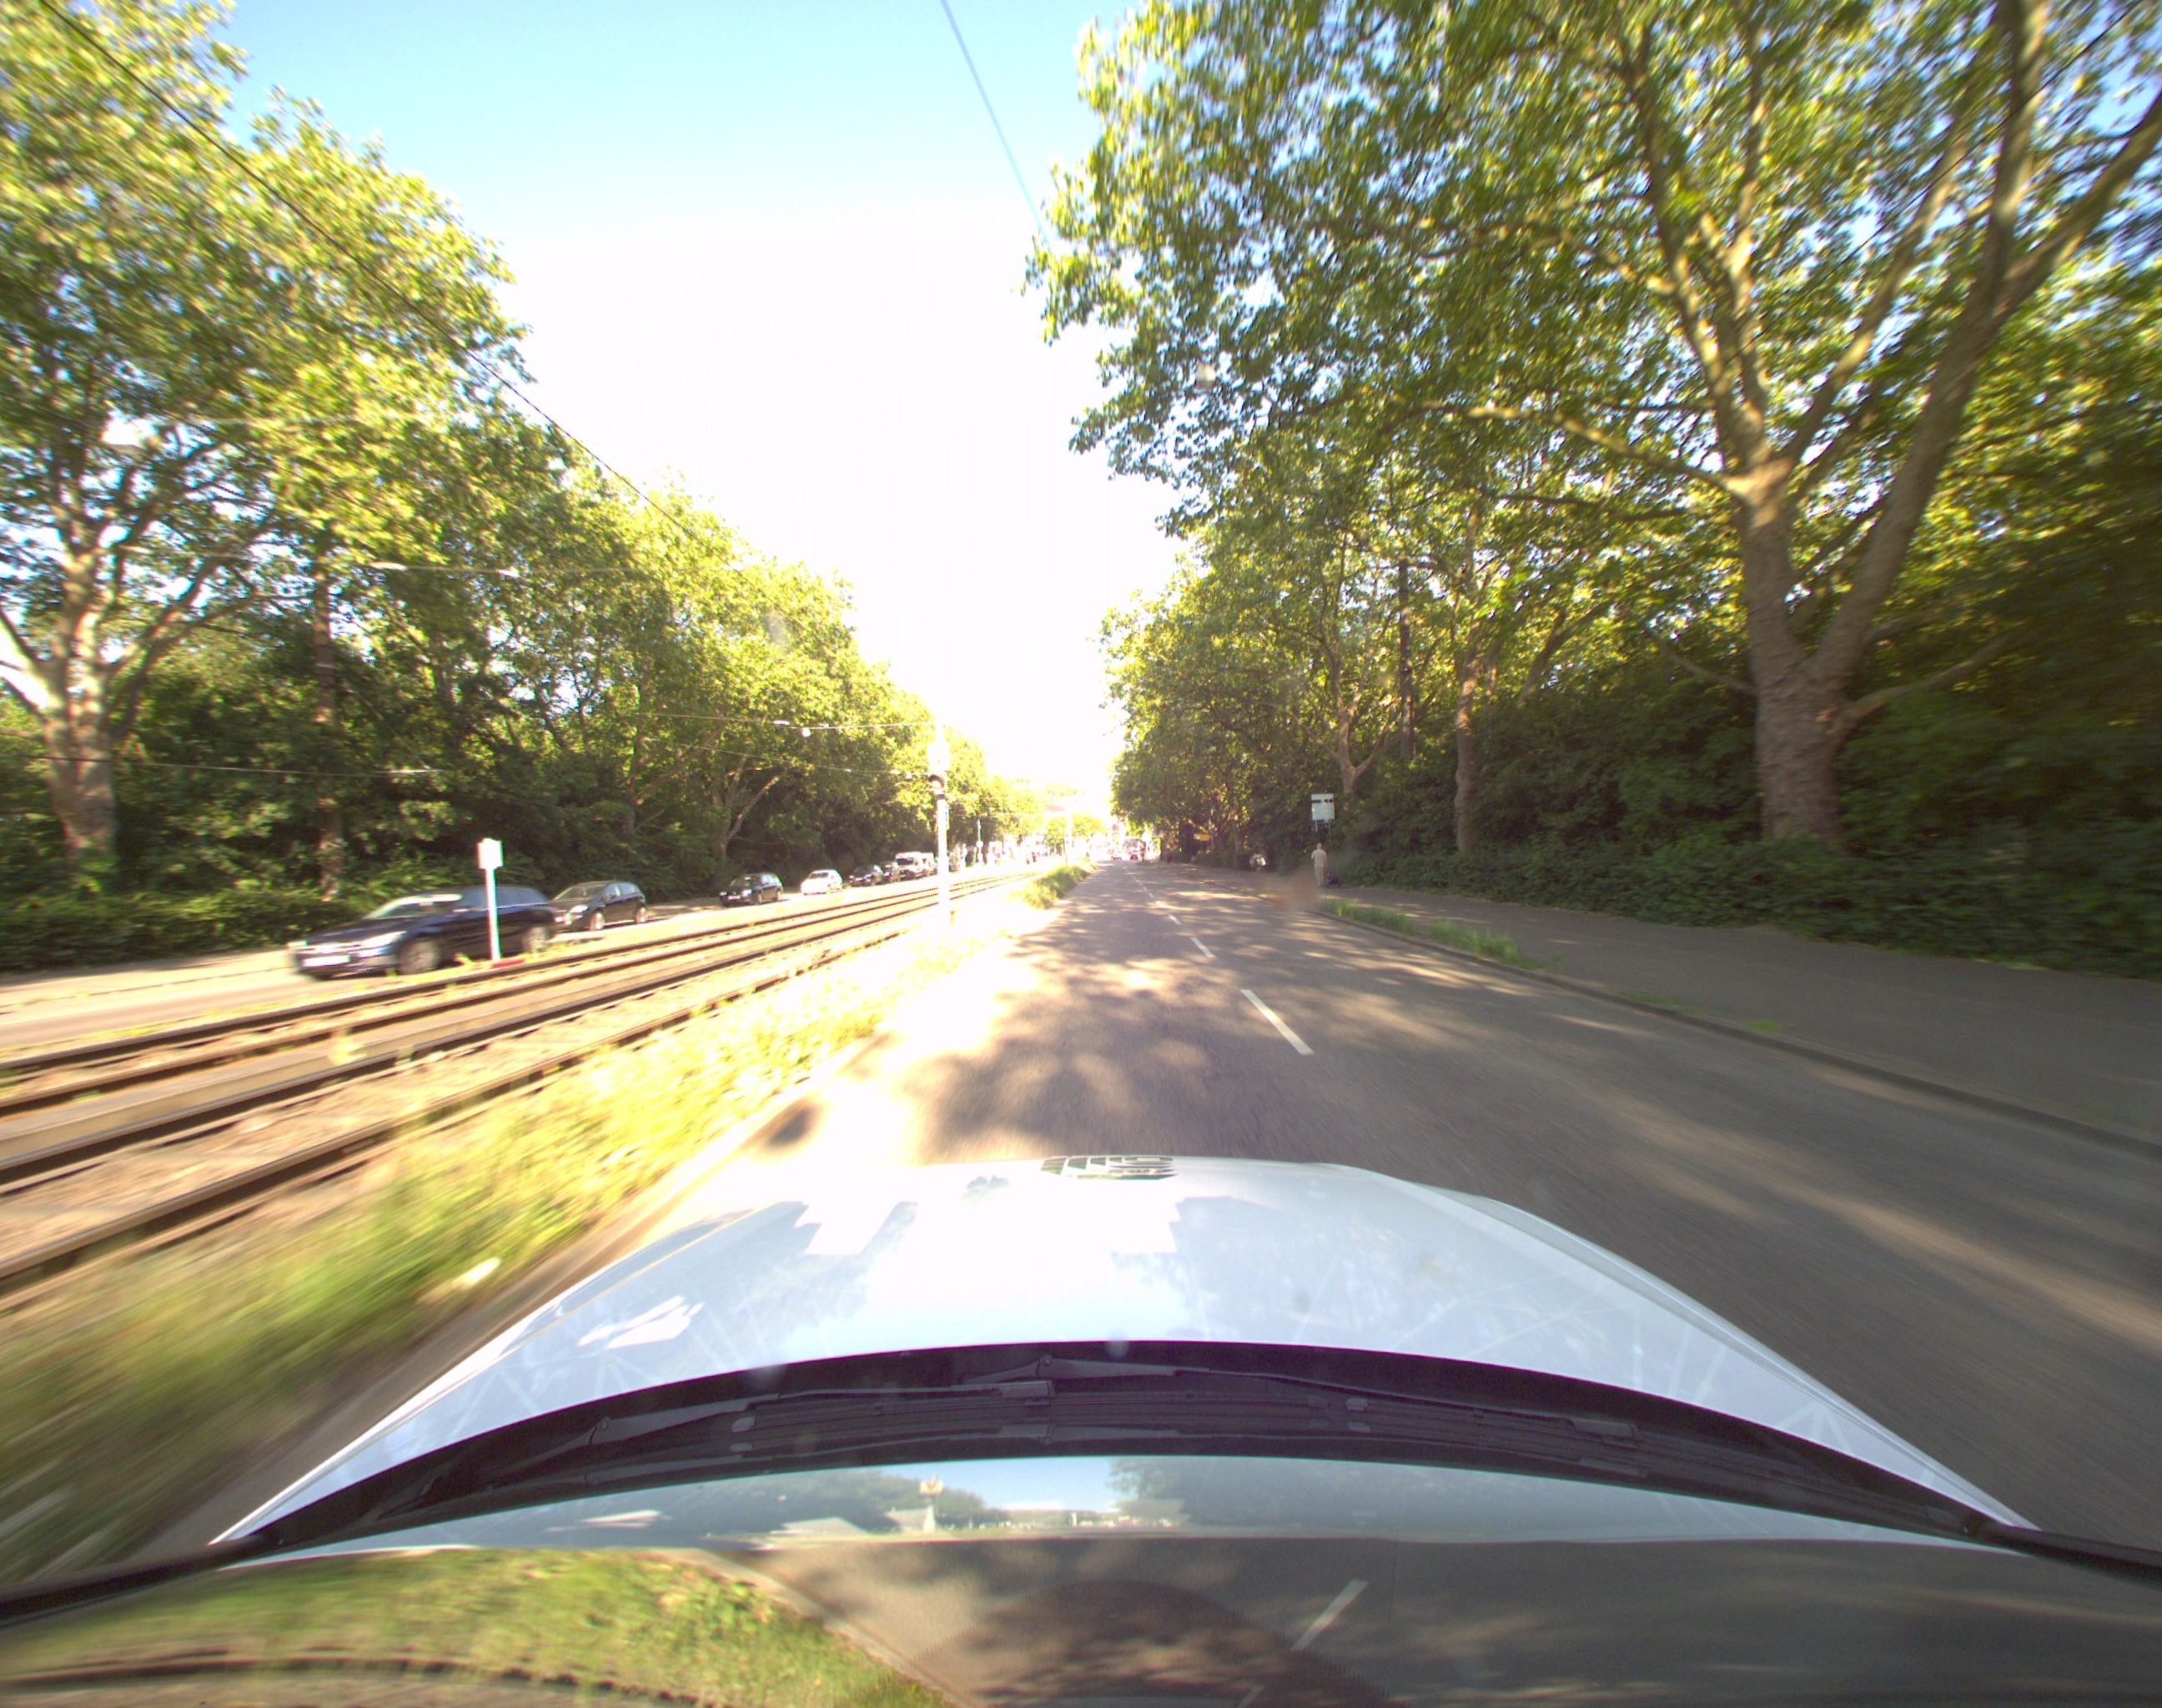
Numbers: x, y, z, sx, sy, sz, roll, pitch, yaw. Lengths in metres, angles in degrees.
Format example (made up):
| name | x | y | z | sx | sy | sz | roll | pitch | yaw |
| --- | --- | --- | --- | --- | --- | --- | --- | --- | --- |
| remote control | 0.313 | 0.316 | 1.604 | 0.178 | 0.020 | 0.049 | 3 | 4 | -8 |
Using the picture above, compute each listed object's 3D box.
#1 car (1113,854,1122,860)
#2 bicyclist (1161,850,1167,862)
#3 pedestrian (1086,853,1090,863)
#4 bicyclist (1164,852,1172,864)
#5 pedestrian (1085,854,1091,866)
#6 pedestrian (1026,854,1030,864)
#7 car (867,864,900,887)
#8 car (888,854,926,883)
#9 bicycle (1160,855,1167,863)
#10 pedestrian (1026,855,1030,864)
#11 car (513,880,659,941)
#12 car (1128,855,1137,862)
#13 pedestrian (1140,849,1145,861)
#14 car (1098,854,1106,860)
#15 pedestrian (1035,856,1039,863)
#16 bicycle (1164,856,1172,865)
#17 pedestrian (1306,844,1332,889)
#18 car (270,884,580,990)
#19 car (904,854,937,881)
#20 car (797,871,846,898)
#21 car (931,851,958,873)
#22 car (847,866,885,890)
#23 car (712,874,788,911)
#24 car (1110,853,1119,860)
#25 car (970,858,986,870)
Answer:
| name | x | y | z | sx | sy | sz | roll | pitch | yaw |
| --- | --- | --- | --- | --- | --- | --- | --- | --- | --- |
| car | 8.255 | 0.672 | 184.723 | 1.922 | 1.472 | 4.855 | -1 | 0 | 1 |
| bicyclist | 12.153 | 0.347 | 119.836 | 0.697 | 1.728 | 1.079 | -2 | 0 | -1 |
| pedestrian | 1.155 | 0.614 | 134.139 | 0.739 | 1.694 | 0.791 | 0 | 0 | 1 |
| bicyclist | 10.599 | 0.485 | 99.221 | 0.763 | 1.513 | 0.650 | -2 | 0 | 0 |
| pedestrian | 0.908 | 0.827 | 110.627 | 0.515 | 1.568 | 0.511 | -4 | -1 | 30 |
| pedestrian | -9.213 | 0.887 | 141.346 | 0.645 | 1.772 | 0.651 | -1 | -1 | 3 |
| car | -16.234 | 1.736 | 67.196 | 1.734 | 1.728 | 3.880 | -3 | -1 | -1 |
| car | -16.051 | 1.331 | 75.599 | 2.177 | 2.520 | 6.047 | -3 | -1 | -1 |
| bicycle | 12.162 | 0.734 | 119.831 | 0.697 | 1.107 | 1.929 | -2 | 0 | 0 |
| pedestrian | -9.200 | 0.993 | 140.673 | 0.590 | 1.544 | 0.627 | -1 | -1 | 1 |
| car | -15.197 | 1.681 | 25.325 | 1.822 | 1.505 | 4.392 | -3 | -1 | -1 |
| car | 11.282 | 1.039 | 179.791 | 1.794 | 1.439 | 4.045 | 0 | 0 | 1 |
| pedestrian | 9.880 | 0.133 | 131.528 | 0.654 | 1.871 | 0.678 | -2 | 0 | 0 |
| car | 5.043 | 0.732 | 193.941 | 1.802 | 1.452 | 4.000 | -1 | 0 | 0 |
| pedestrian | -8.544 | 1.092 | 157.199 | 0.668 | 1.324 | 0.756 | -4 | 0 | -1 |
| bicycle | 10.611 | 0.773 | 99.216 | 0.763 | 1.107 | 1.800 | -2 | 0 | 0 |
| pedestrian | 9.170 | 0.473 | 31.378 | 0.645 | 1.635 | 0.928 | -4 | 0 | 2 |
| car | -11.896 | 1.405 | 15.323 | 1.914 | 1.415 | 4.748 | -4 | -1 | 0 |
| car | -16.389 | 1.382 | 83.537 | 2.178 | 2.520 | 6.266 | -3 | -1 | -2 |
| car | -15.800 | 1.845 | 49.799 | 1.734 | 1.437 | 3.850 | -3 | -1 | -1 |
| car | -16.442 | 0.980 | 98.493 | 2.177 | 2.520 | 6.030 | -3 | -1 | -1 |
| car | -16.014 | 1.764 | 60.825 | 1.734 | 1.555 | 3.880 | -3 | -1 | -1 |
| car | -15.545 | 1.772 | 38.472 | 1.822 | 1.437 | 4.321 | -3 | -1 | -1 |
| car | 7.911 | 0.581 | 192.076 | 1.794 | 1.638 | 4.045 | -1 | 0 | 0 |
| car | -15.398 | 1.526 | 121.447 | 1.898 | 1.652 | 3.969 | -3 | -1 | -2 |
